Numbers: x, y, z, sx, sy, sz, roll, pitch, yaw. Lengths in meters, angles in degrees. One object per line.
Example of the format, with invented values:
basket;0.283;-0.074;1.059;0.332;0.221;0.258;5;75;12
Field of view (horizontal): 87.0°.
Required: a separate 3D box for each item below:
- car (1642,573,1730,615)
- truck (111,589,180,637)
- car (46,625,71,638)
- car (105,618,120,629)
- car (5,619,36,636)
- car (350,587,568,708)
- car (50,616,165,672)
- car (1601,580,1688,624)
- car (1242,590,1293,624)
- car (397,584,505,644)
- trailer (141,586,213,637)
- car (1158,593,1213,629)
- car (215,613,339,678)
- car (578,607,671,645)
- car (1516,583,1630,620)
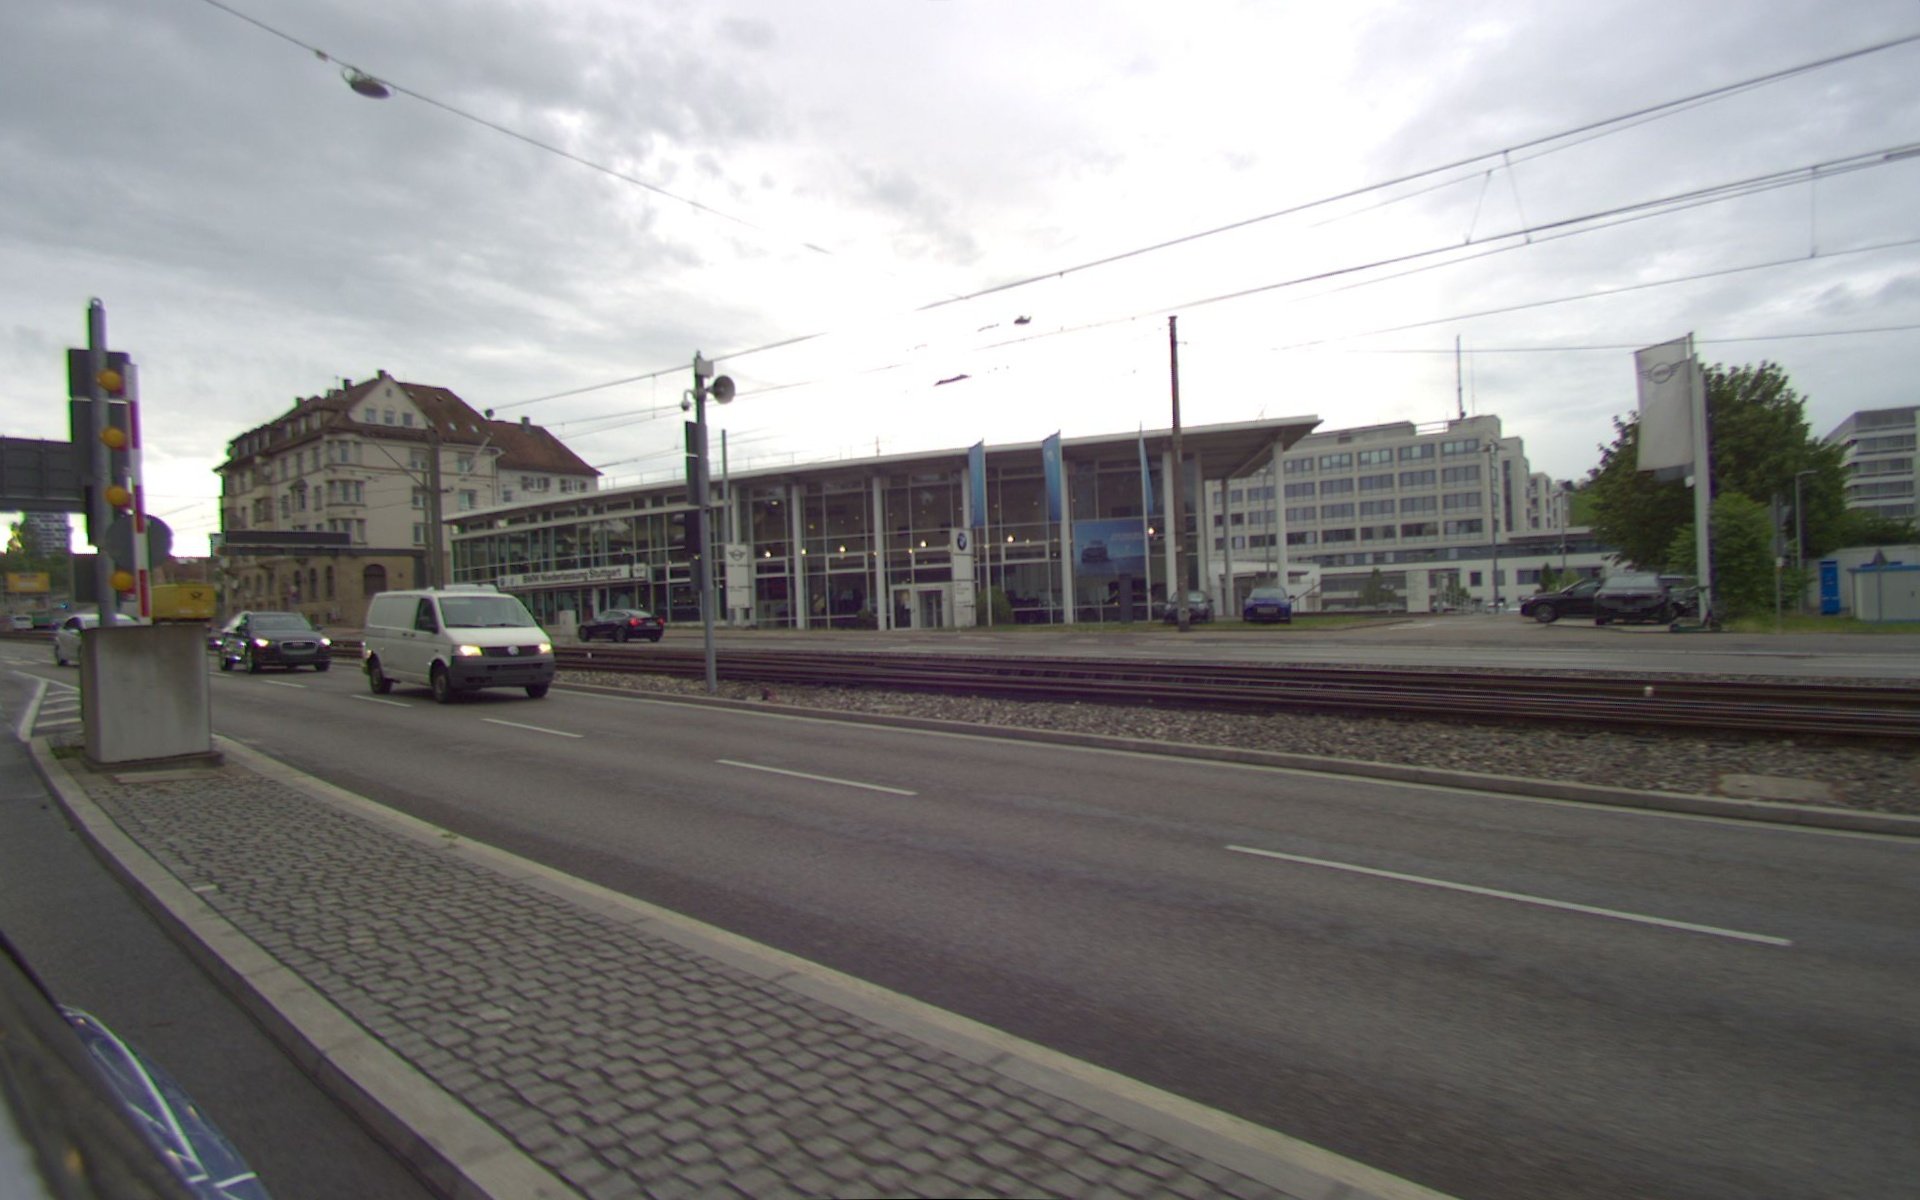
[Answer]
car;29.200;-0.248;40.738;2.796;1.585;1.369;-2;0;37
truck;-72.838;1.197;90.404;10.130;4.082;2.657;-1;-1;39
car;-108.691;3.808;121.969;4.327;1.444;1.590;-2;0;39
car;-154.240;4.271;184.207;1.807;1.811;4.224;1;-2;-37
car;-113.567;3.312;122.308;5.186;1.888;1.974;-2;-1;39
car;-9.409;0.821;18.845;4.713;1.973;1.890;-2;-1;40
car;-26.353;1.315;31.245;4.314;1.585;1.957;-2;-1;39
car;21.176;0.048;31.257;1.716;1.284;3.478;-1;0;43
car;11.785;0.240;38.662;1.746;1.244;3.976;-1;0;18
car;-23.636;0.675;46.896;6.157;2.618;2.031;-2;0;39
trailer;-65.367;0.989;84.412;9.071;4.082;2.657;-1;-1;39
car;8.913;0.398;39.870;1.689;1.244;3.976;-4;0;18
car;-18.216;1.187;26.936;3.892;1.585;1.687;-2;-1;39
car;-14.390;1.107;43.303;4.335;1.527;1.724;-2;-1;39
car;22.241;0.056;36.736;3.423;1.253;1.572;-1;0;36
